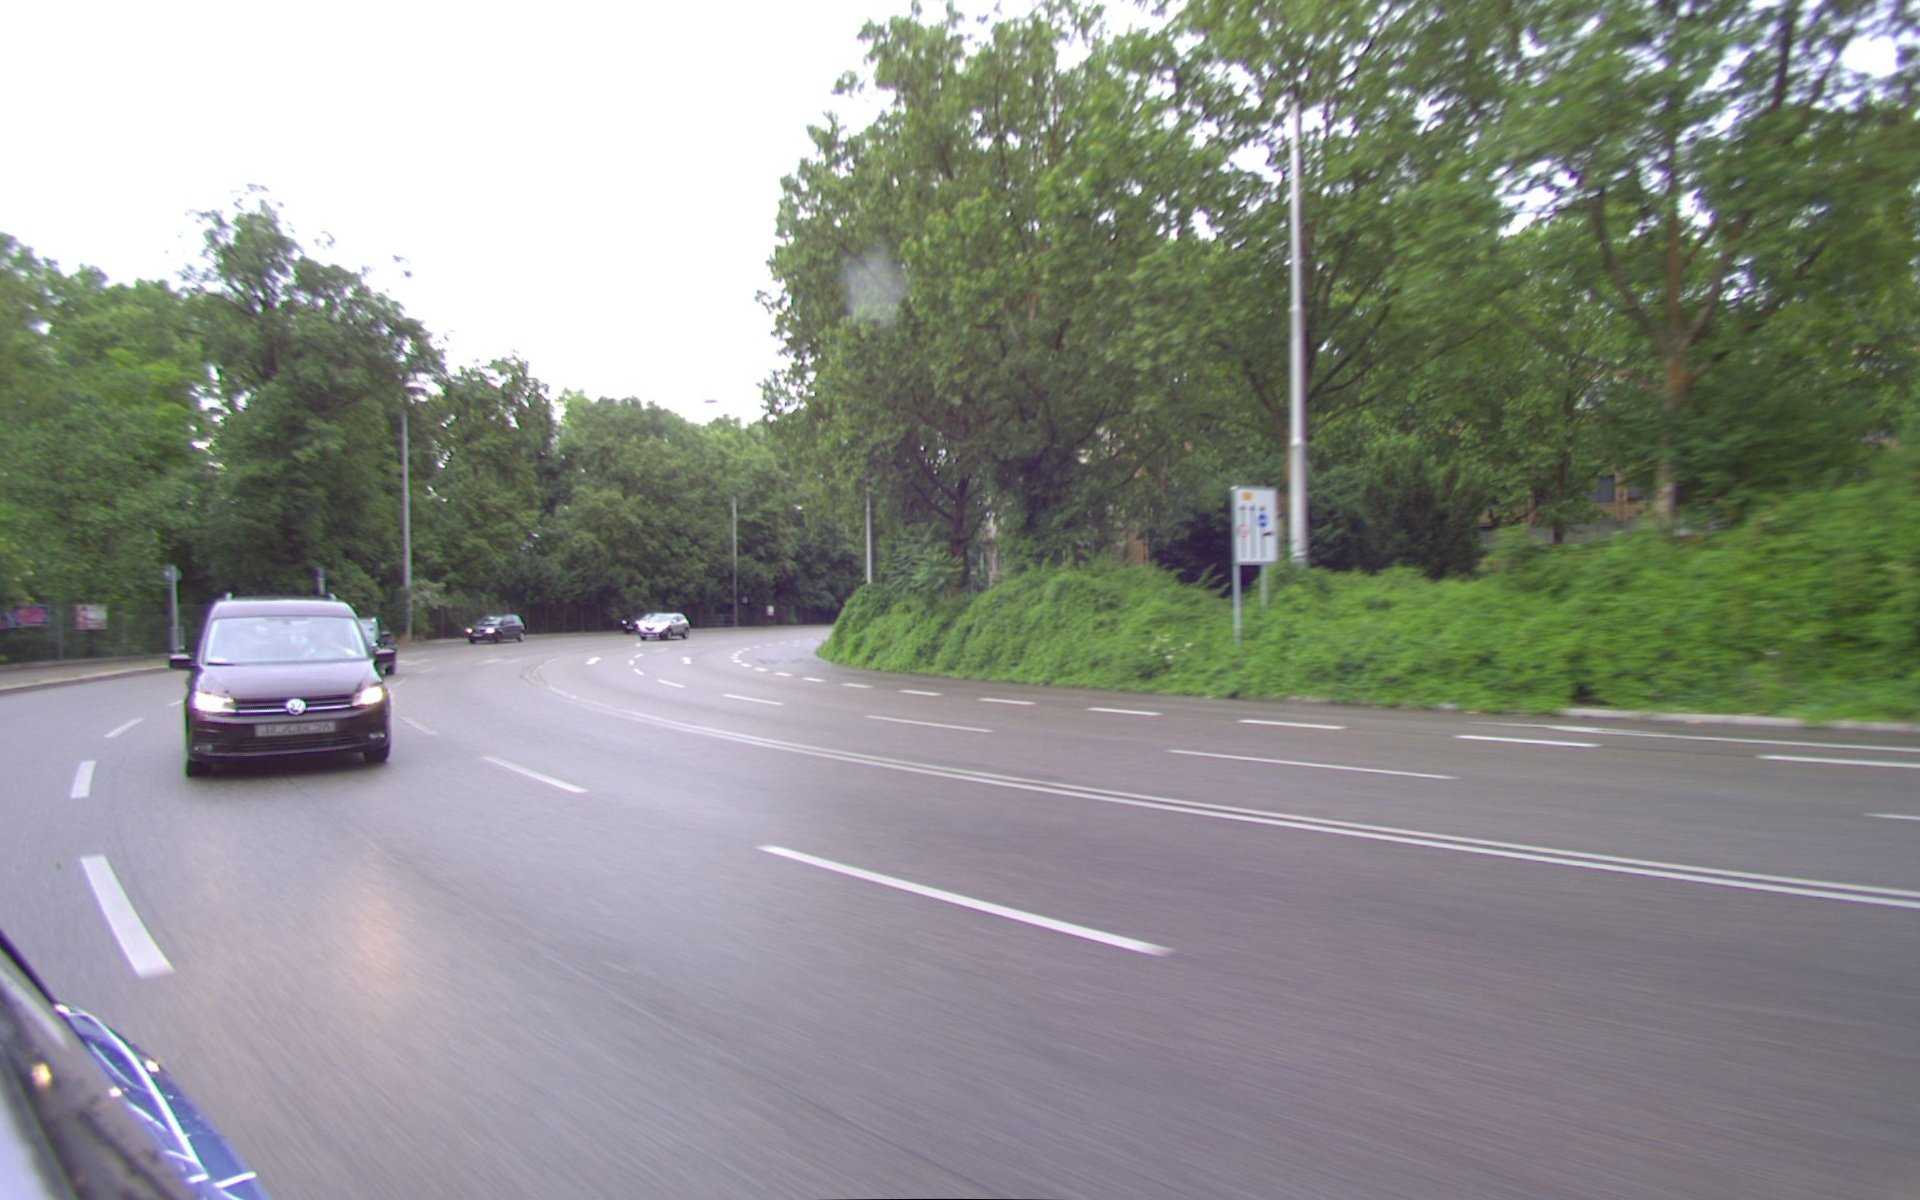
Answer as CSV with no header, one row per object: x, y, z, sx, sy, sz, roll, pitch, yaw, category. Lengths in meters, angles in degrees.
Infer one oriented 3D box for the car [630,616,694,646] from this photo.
-18.363,1.890,62.497,1.978,1.758,4.641,-1,0,9,car

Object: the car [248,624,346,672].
-22.859,1.619,35.047,1.765,1.464,4.012,-1,-1,-17,car

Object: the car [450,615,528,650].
-25.615,1.742,55.199,1.976,1.758,3.991,-3,-1,8,car

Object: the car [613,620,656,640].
-23.181,2.117,72.188,1.568,1.343,3.092,-1,-1,14,car

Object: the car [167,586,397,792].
-7.567,0.849,11.153,1.767,1.813,4.134,1,-2,-38,car
